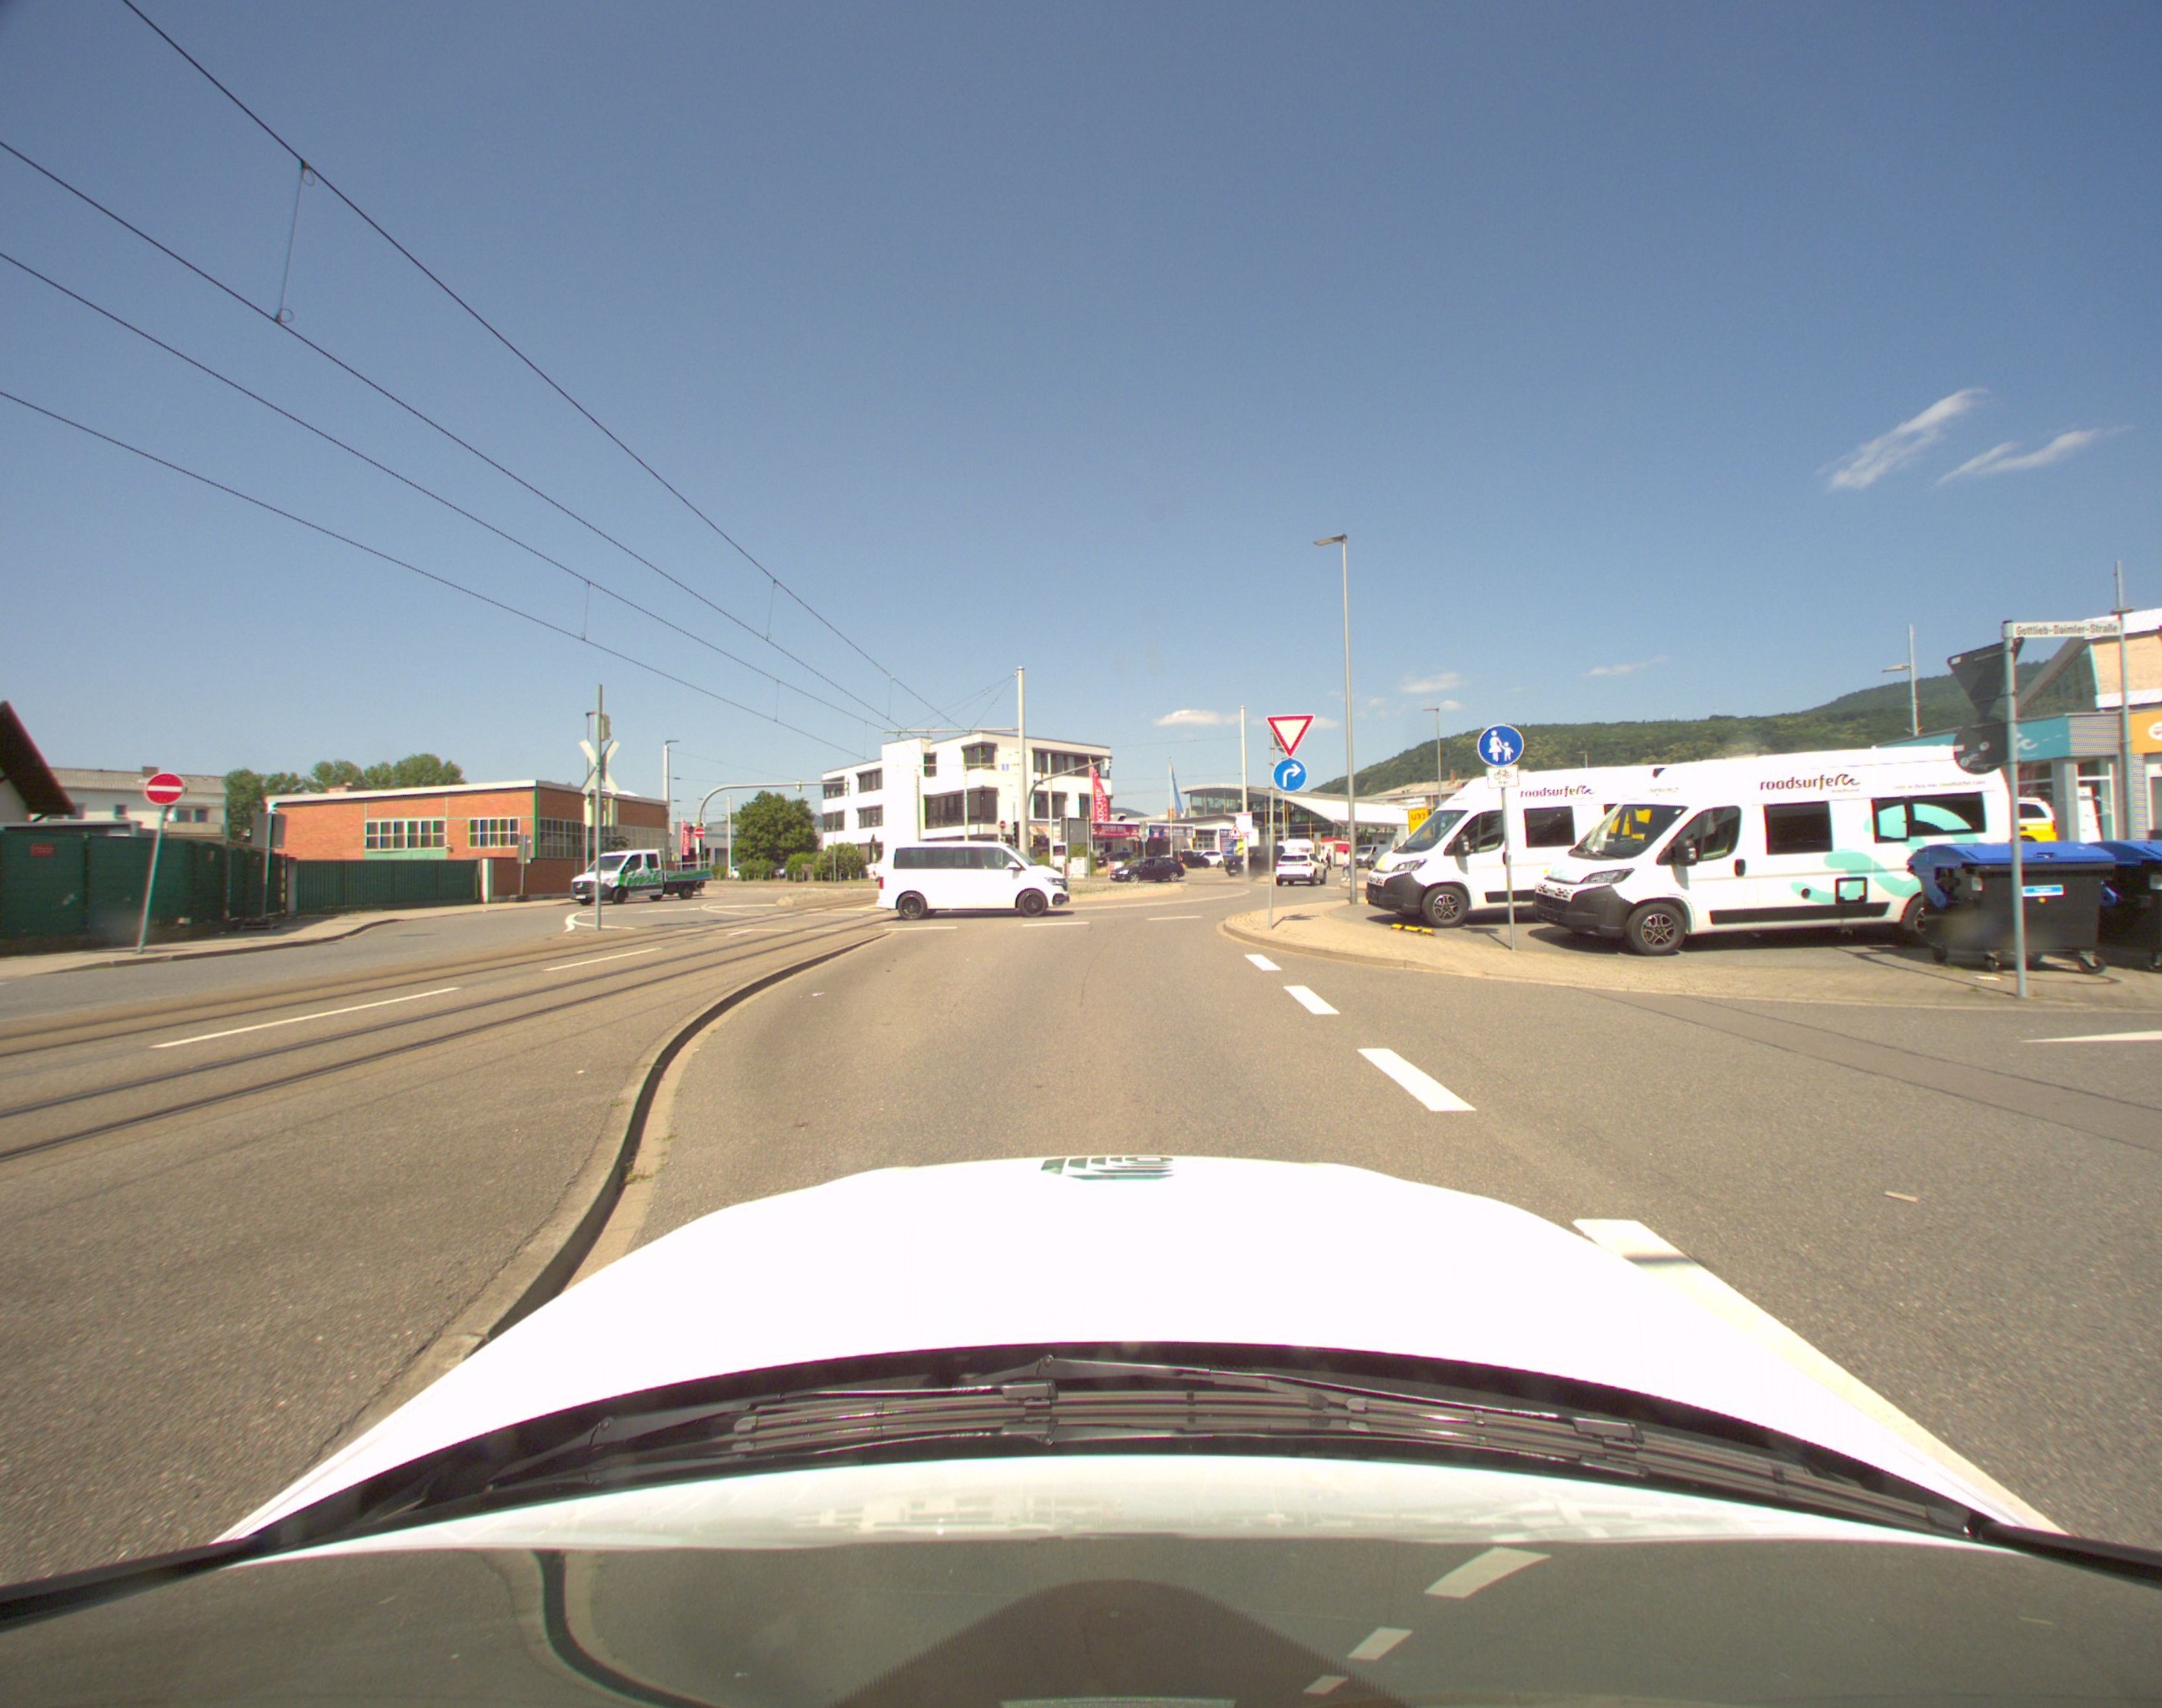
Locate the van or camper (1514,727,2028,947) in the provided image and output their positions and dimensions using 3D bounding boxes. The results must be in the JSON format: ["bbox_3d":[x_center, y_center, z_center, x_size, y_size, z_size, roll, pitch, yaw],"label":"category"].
[{"bbox_3d":[9.522,-0.219,11.707,5.480,2.814,2.051,-1,1,5],"label":"van or camper"}]

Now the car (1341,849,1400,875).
[{"bbox_3d":[22.284,0.587,62.643,4.852,1.935,1.911,-1,-1,-38],"label":"car"}]

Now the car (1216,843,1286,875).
[{"bbox_3d":[11.132,0.299,53.150,4.664,1.910,2.073,-2,1,-42],"label":"car"}]

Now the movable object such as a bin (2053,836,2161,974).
[{"bbox_3d":[12.267,0.544,9.213,1.277,1.457,1.023,-1,1,12],"label":"movable object such as a bin"}]

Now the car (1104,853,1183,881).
[{"bbox_3d":[3.674,0.751,47.948,4.252,1.556,1.952,-1,0,-27],"label":"car"}]

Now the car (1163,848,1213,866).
[{"bbox_3d":[9.053,0.265,68.791,2.007,1.427,4.343,-1,0,44],"label":"car"}]

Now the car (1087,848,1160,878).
[{"bbox_3d":[3.093,0.627,58.395,5.309,1.965,1.942,-1,-1,-42],"label":"car"}]

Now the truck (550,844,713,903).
[{"bbox_3d":[-19.438,0.788,35.701,2.184,2.337,6.420,-1,0,19],"label":"truck"}]

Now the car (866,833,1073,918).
[{"bbox_3d":[-2.777,0.530,21.219,4.982,2.014,2.170,-1,0,2],"label":"car"}]

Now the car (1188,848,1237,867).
[{"bbox_3d":[12.111,0.347,74.825,1.863,1.589,4.957,-4,-3,44],"label":"car"}]

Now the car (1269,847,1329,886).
[{"bbox_3d":[10.695,0.579,39.671,1.975,1.733,4.591,-2,-1,25],"label":"car"}]

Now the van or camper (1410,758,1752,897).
[{"bbox_3d":[12.319,-0.610,20.489,7.036,2.946,2.335,-3,-1,1],"label":"van or camper"}]

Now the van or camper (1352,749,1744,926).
[{"bbox_3d":[8.150,-0.266,14.724,5.785,2.773,2.093,-2,0,3],"label":"van or camper"}]

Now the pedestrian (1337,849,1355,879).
[{"bbox_3d":[14.550,0.532,44.754,0.874,1.636,0.956,-1,-1,14],"label":"pedestrian"}]

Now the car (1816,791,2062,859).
[{"bbox_3d":[27.758,-0.901,26.540,5.424,2.014,2.141,-1,0,6],"label":"car"}]

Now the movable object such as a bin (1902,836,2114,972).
[{"bbox_3d":[10.728,0.548,9.505,1.244,1.457,1.083,-1,2,13],"label":"movable object such as a bin"}]

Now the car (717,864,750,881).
[{"bbox_3d":[-39.448,2.112,92.448,3.949,1.662,2.012,-4,-1,43],"label":"car"}]
